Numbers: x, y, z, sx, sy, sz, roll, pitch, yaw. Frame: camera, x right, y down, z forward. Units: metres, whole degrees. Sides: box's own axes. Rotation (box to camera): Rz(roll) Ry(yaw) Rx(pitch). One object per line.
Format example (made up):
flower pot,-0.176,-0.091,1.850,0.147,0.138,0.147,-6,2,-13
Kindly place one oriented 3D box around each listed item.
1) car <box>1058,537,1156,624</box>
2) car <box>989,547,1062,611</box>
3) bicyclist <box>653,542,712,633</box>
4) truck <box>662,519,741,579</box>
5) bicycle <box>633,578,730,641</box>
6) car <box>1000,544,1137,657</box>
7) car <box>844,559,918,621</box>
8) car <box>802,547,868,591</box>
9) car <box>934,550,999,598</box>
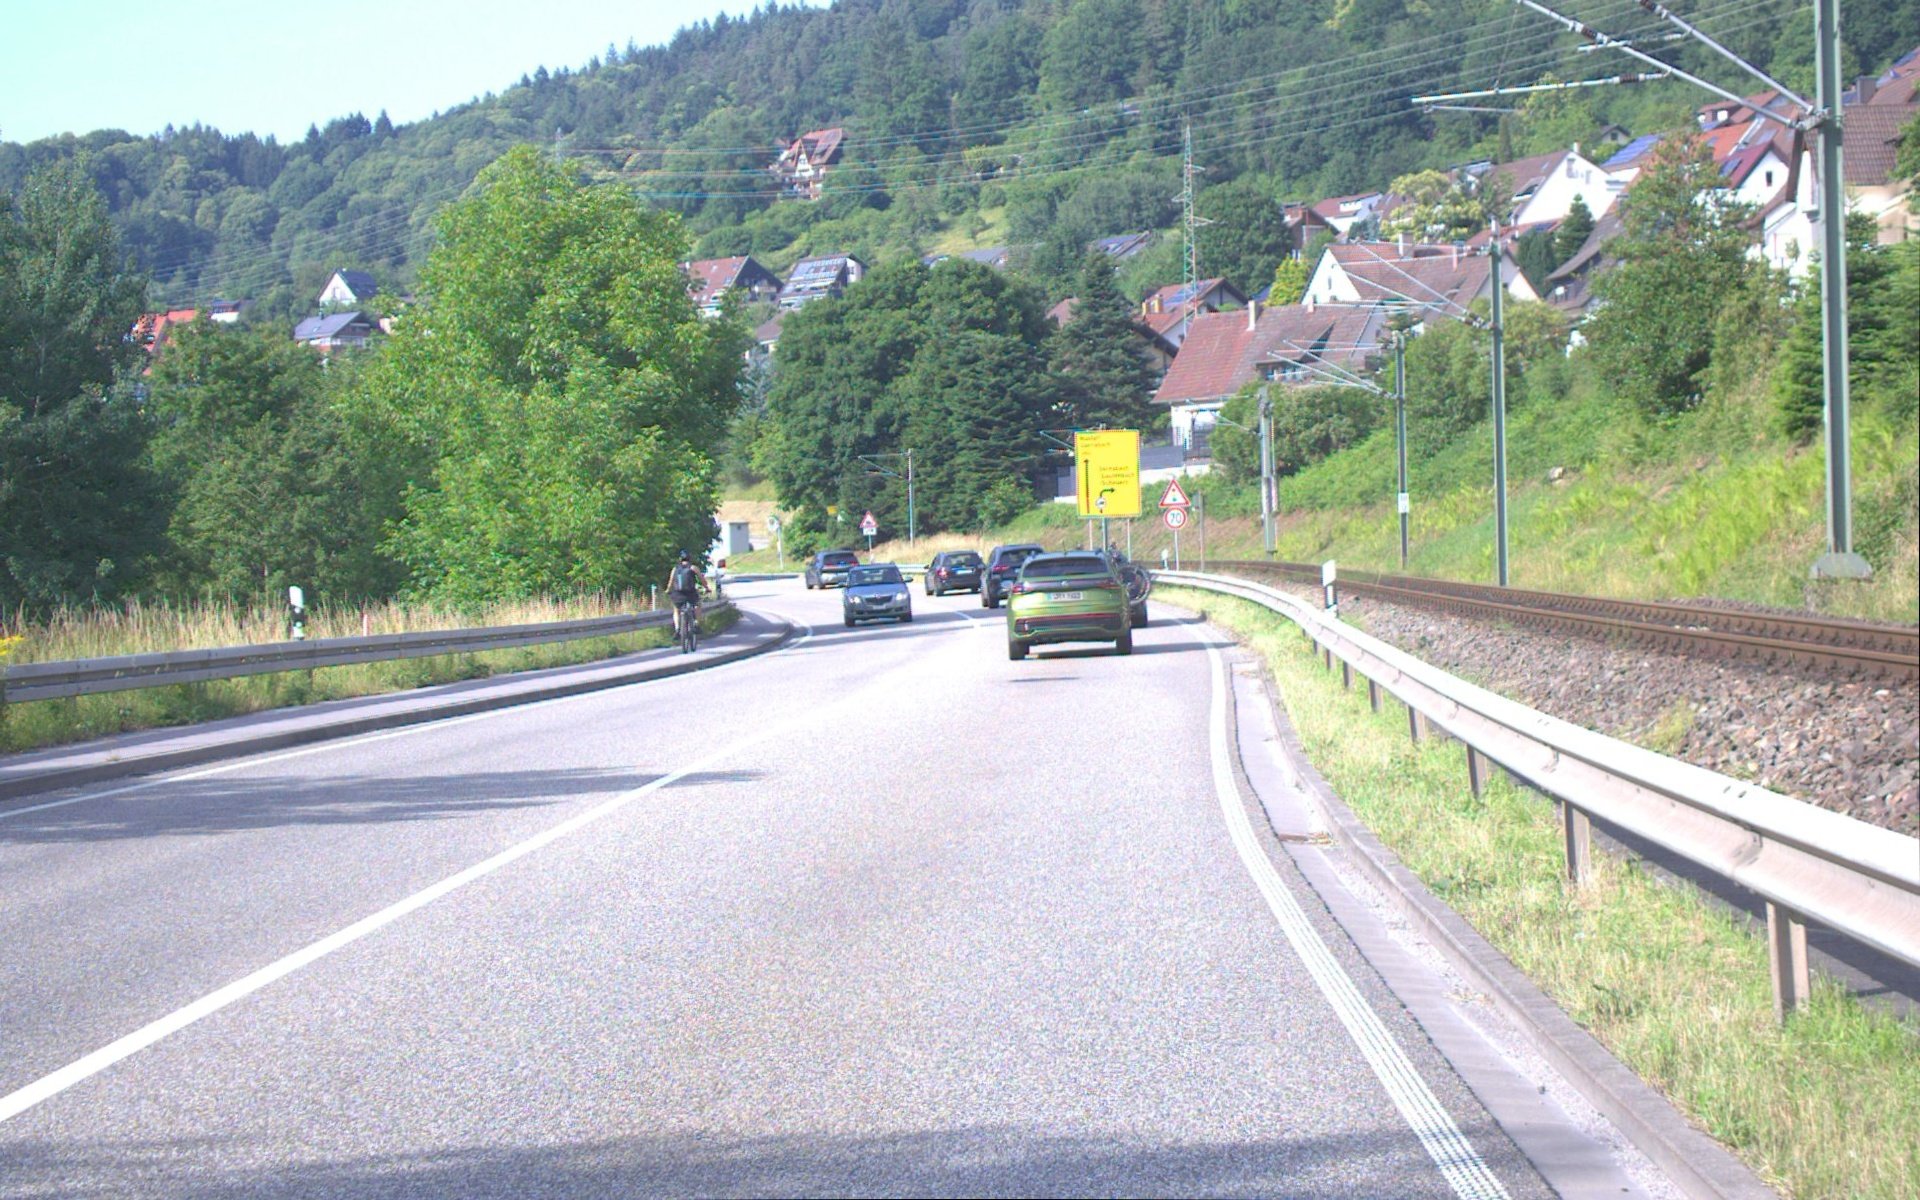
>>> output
car,2.676,-0.370,63.284,1.667,1.554,4.000,0,1,1
car,1.750,-0.573,92.326,1.880,1.681,4.000,0,1,0
bicyclist,-4.900,-0.234,60.660,0.558,1.581,1.034,1,2,29
truck,-13.484,-2.675,179.111,2.711,3.073,6.110,0,1,-18
bicycle,-4.903,0.163,60.692,0.558,1.042,2.226,1,2,29
car,1.511,-0.018,49.058,1.714,1.450,4.000,-3,1,0
car,-1.960,-0.262,86.277,1.578,1.474,4.000,1,1,3
car,-5.366,-1.337,147.206,2.062,1.805,4.001,-1,1,-13
car,0.216,-0.865,114.305,1.848,1.521,3.663,-1,1,-4
